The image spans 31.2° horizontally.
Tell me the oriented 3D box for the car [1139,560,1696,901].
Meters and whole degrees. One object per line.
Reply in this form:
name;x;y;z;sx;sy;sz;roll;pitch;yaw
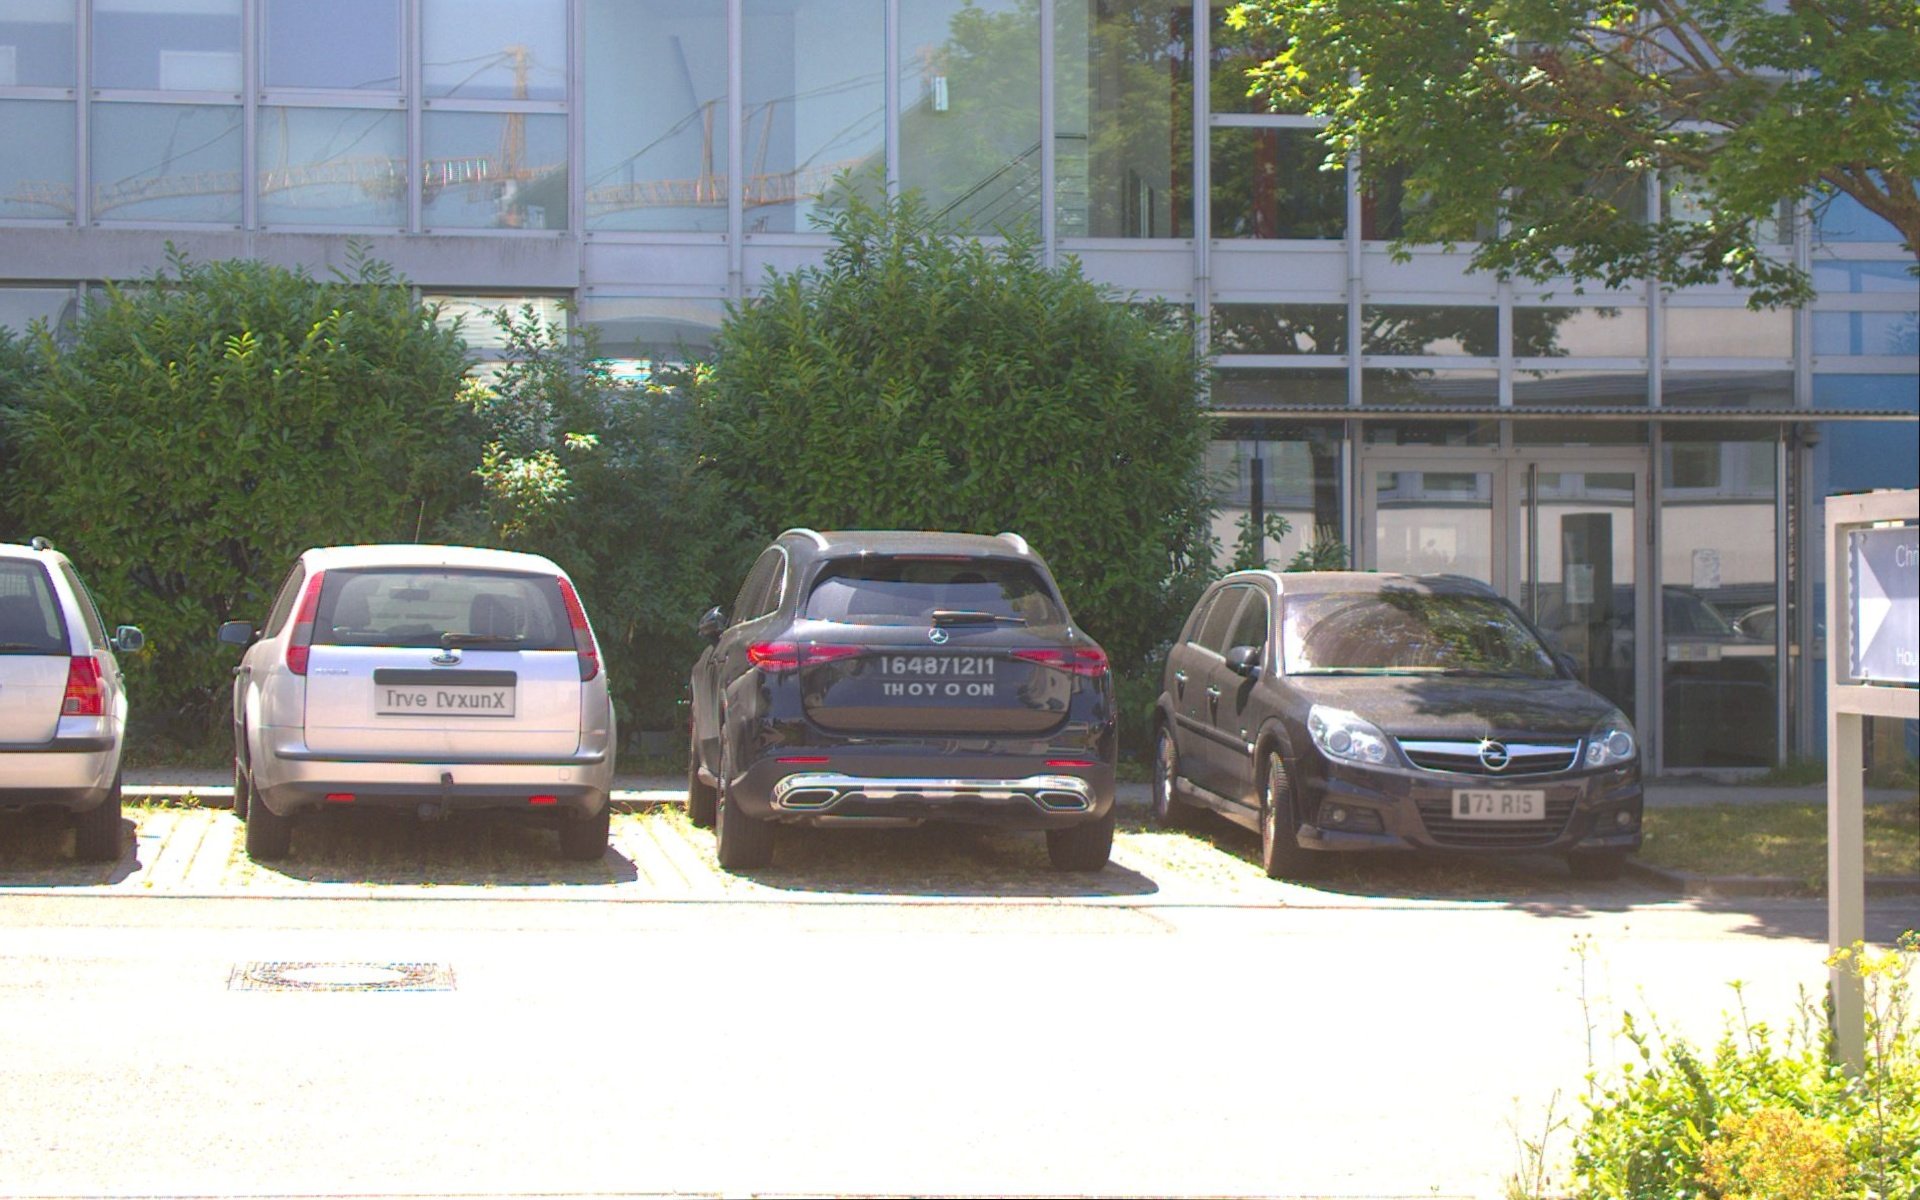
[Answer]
car;2.193;0.570;17.697;1.769;1.477;4.260;1;1;-8

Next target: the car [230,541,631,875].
car;-2.775;0.471;17.419;1.764;1.444;3.655;2;1;-12

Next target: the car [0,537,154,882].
car;-4.832;0.433;16.556;1.731;1.444;3.655;2;1;-12

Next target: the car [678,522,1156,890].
car;-0.348;0.444;17.523;1.926;1.605;3.987;2;1;-8
